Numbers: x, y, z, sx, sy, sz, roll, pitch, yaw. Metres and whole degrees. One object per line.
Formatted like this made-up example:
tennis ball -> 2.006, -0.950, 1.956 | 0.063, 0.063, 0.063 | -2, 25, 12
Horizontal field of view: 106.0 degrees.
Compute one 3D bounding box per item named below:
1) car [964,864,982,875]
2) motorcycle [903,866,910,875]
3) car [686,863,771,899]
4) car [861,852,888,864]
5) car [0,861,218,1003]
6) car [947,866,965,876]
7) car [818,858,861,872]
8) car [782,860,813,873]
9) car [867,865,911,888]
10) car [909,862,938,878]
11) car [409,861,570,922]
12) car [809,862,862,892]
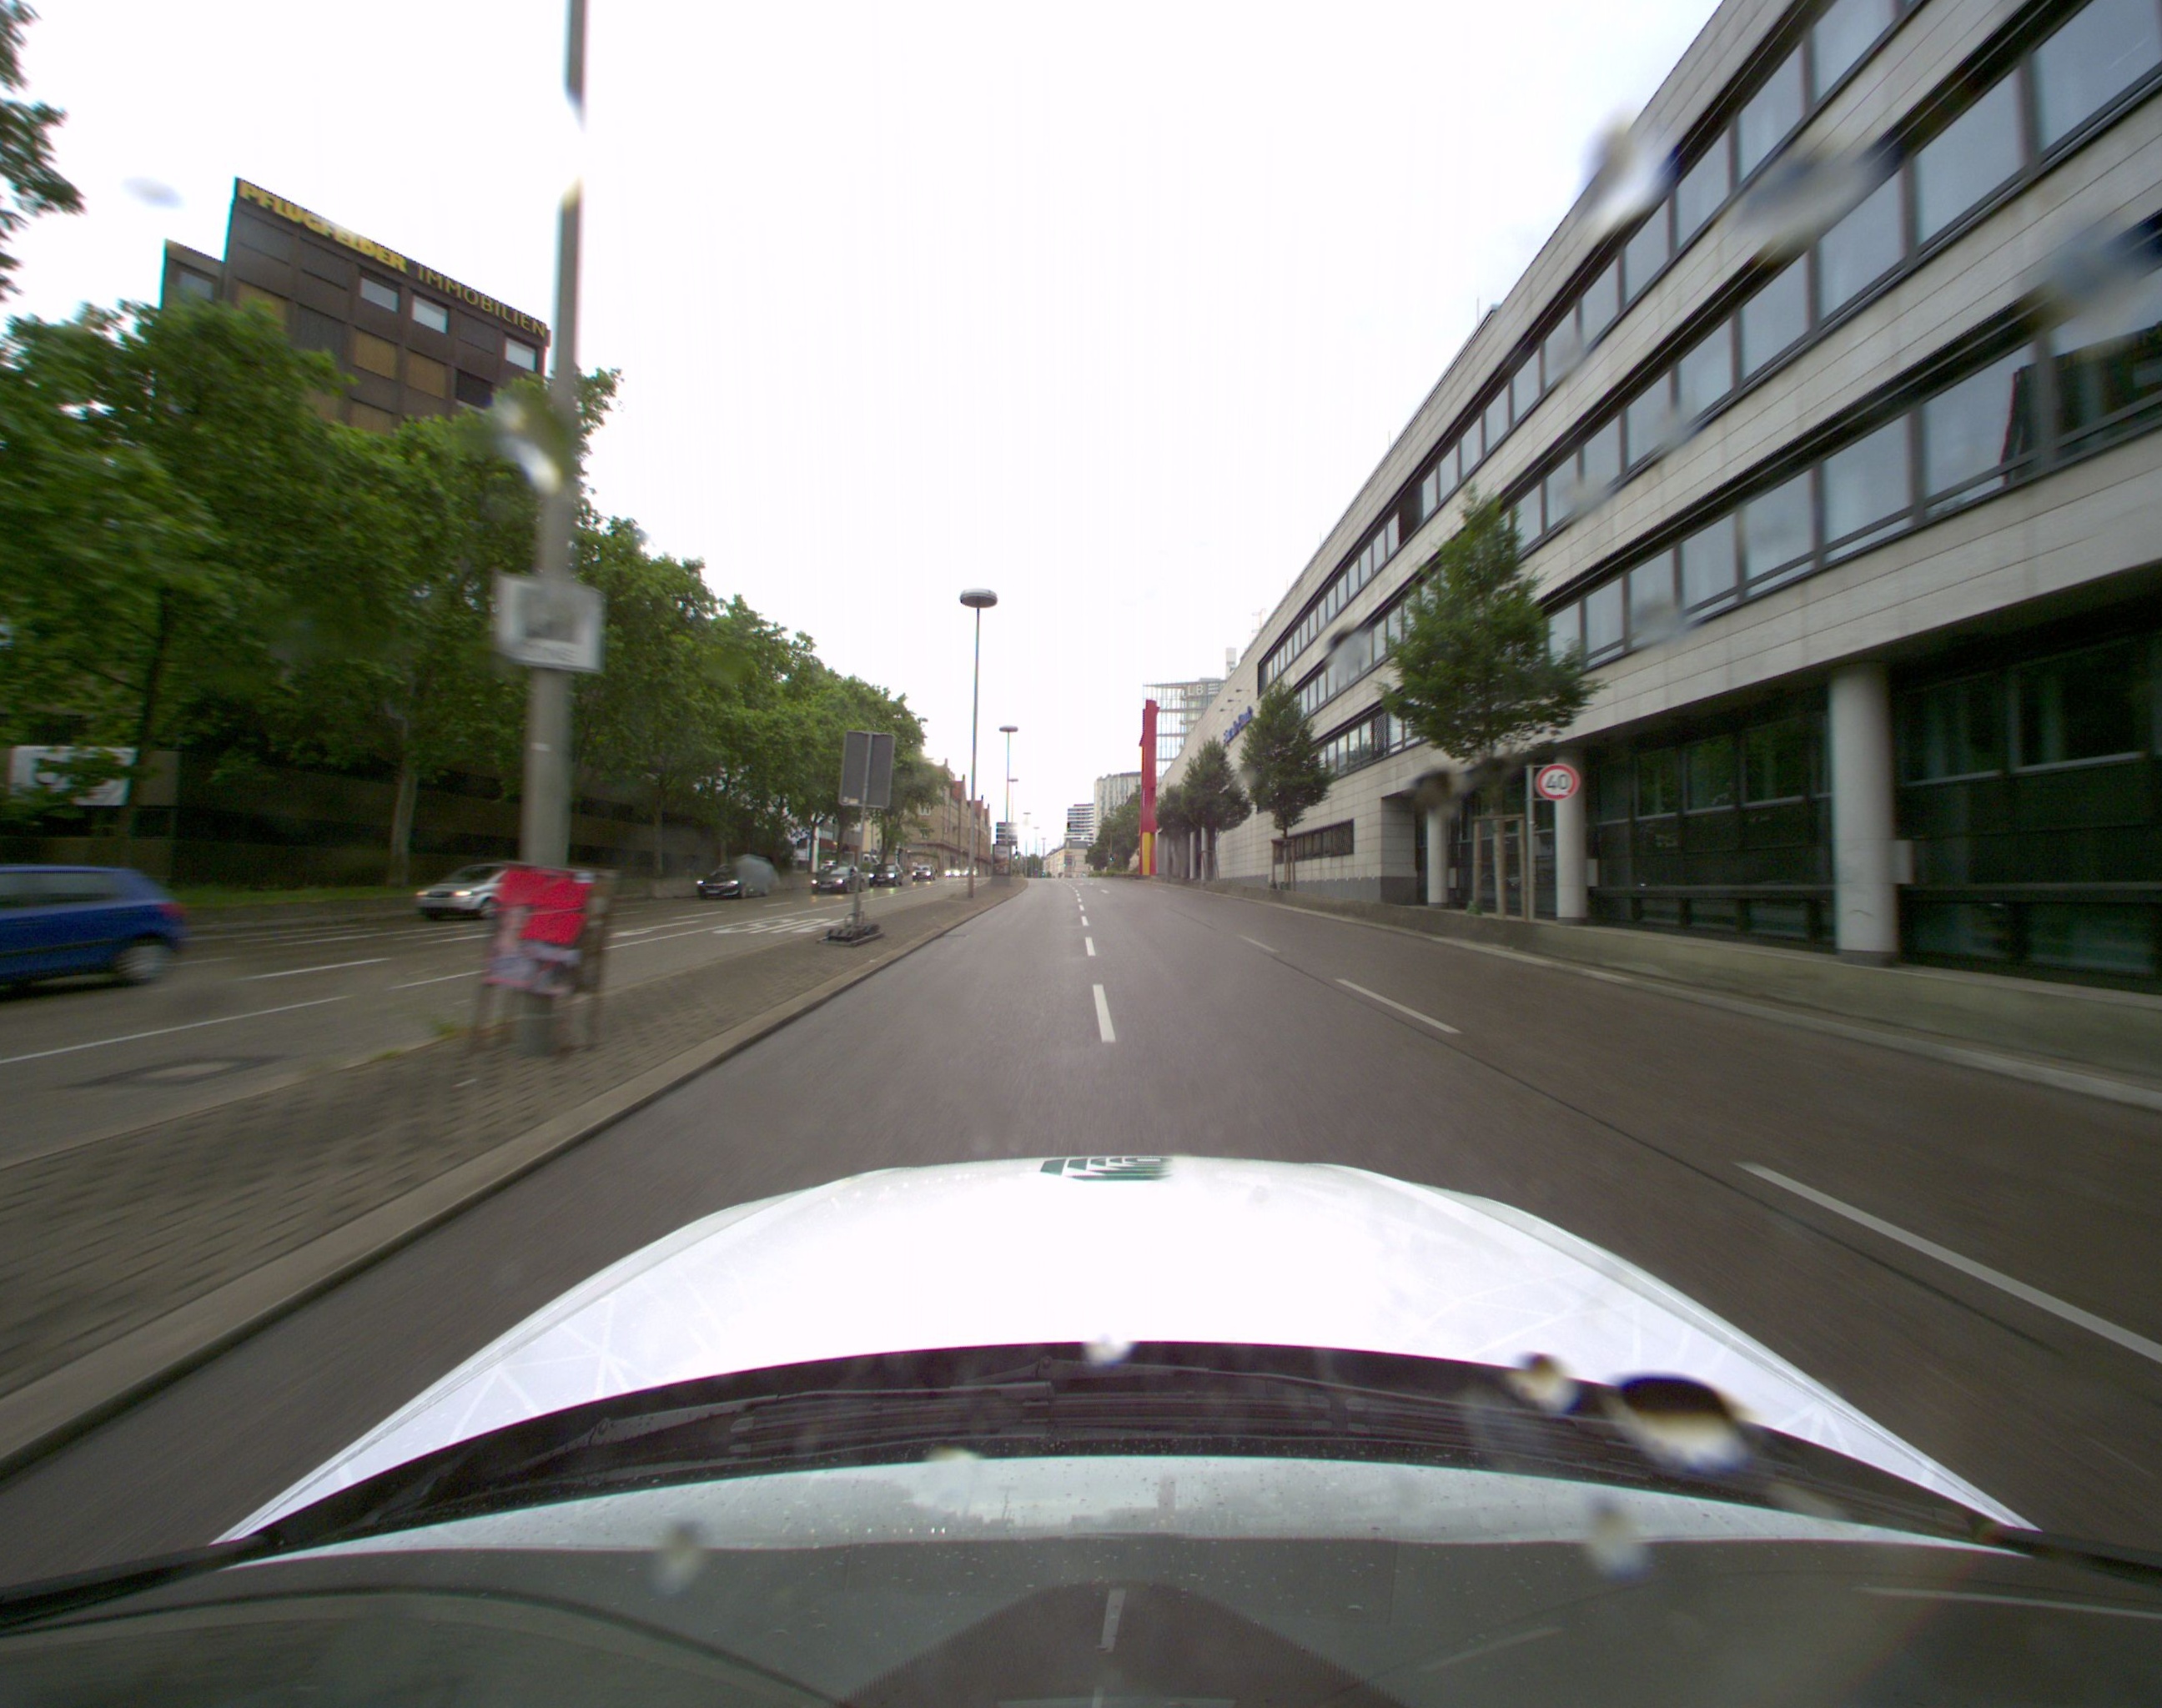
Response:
car -> -14.681, 2.122, 110.765 | 1.813, 1.469, 4.001 | -1, -2, 1
motorcycle -> -24.823, 2.296, 115.770 | 0.779, 1.257, 2.989 | 0, 0, -7
car -> -15.103, 1.112, 35.155 | 1.740, 1.446, 4.722 | -1, -1, -2
car -> -30.951, 0.648, 122.179 | 3.621, 1.701, 1.822 | -1, -2, -4
car -> -12.221, 0.840, 8.717 | 1.603, 1.473, 4.067 | 0, 0, 0
car -> -17.857, 2.398, 116.245 | 1.813, 1.385, 4.001 | -1, -2, 1
car -> -28.217, 1.310, 95.170 | 1.801, 1.511, 4.607 | -3, -2, 37
car -> -33.130, 1.436, 95.104 | 1.262, 1.426, 3.210 | -3, -2, 45
car -> -12.639, 1.463, 53.803 | 1.813, 1.403, 4.001 | -1, -2, 1
car -> -14.316, 1.446, 74.242 | 1.813, 1.403, 4.001 | -1, -2, 1
car -> -16.505, 0.988, 22.969 | 1.591, 1.491, 3.759 | 1, 0, 4
car -> -12.130, 1.097, 40.492 | 1.683, 1.410, 3.994 | -1, 0, -4
